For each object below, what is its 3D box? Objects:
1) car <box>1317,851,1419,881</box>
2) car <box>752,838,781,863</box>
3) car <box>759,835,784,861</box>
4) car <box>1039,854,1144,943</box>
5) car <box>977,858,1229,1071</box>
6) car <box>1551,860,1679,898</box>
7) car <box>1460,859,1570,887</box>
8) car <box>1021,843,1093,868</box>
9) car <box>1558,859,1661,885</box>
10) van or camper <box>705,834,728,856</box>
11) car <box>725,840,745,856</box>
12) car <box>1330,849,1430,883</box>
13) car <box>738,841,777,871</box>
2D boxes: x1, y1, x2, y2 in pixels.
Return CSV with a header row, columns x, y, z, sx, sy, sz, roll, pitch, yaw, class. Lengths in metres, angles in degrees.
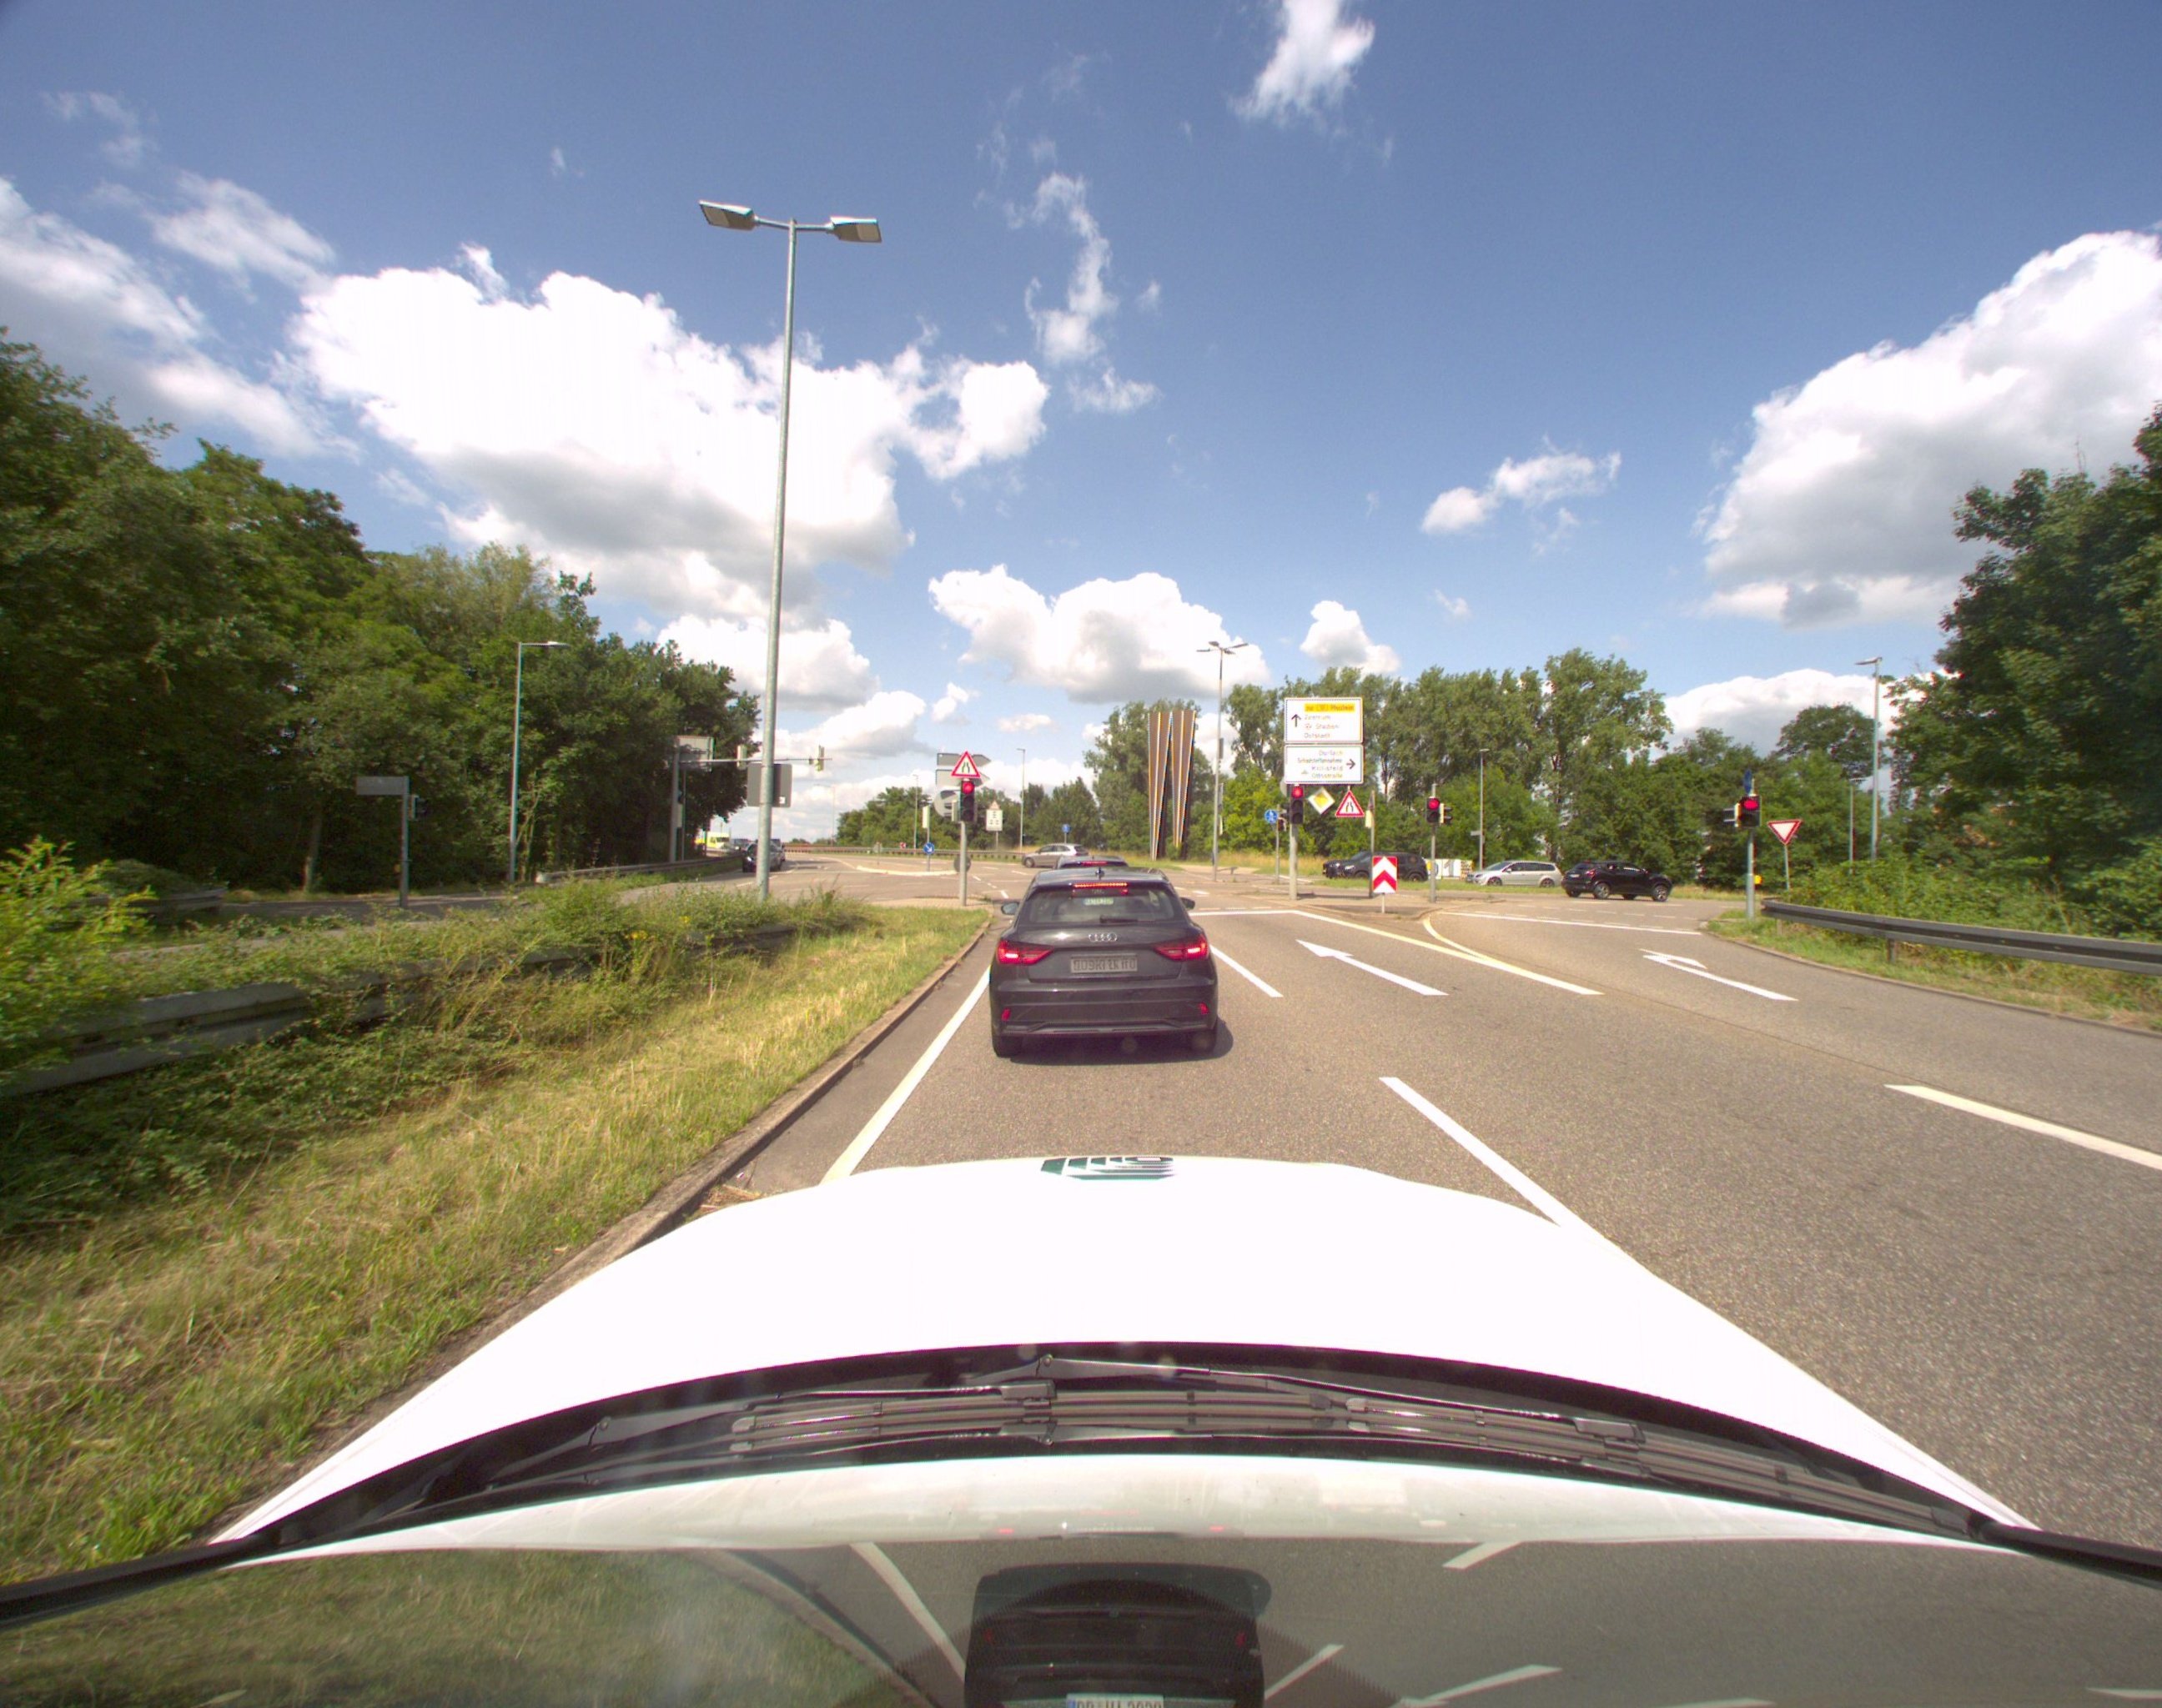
x,y,z,sx,sy,sz,roll,pitch,yaw,class
15.278,0.629,43.518,4.831,1.545,1.737,1,0,0,car
-23.200,-0.250,60.215,1.849,1.802,4.299,1,0,-19,car
-25.754,-0.495,67.626,1.850,2.100,4.295,1,0,-22,car
0.103,0.734,15.466,1.722,1.423,3.841,-1,0,-2,car
0.216,0.777,7.657,1.720,1.404,4.002,-1,0,2,car
21.253,0.971,32.508,3.952,1.418,1.949,1,0,-7,car
21.109,0.911,39.702,4.460,1.320,1.736,1,0,-2,car
-1.507,0.074,50.840,4.067,1.496,2.012,1,0,29,car
28.329,0.950,43.723,4.481,1.281,1.736,1,0,-2,car
-46.576,-1.089,103.870,2.006,2.683,6.798,0,0,-30,van or camper
-38.814,-0.650,91.267,1.853,1.705,4.289,1,0,-26,car
14.521,0.572,39.682,4.253,1.545,1.737,1,0,0,car
-18.266,0.129,46.158,1.844,1.618,3.974,0,-1,-19,car
